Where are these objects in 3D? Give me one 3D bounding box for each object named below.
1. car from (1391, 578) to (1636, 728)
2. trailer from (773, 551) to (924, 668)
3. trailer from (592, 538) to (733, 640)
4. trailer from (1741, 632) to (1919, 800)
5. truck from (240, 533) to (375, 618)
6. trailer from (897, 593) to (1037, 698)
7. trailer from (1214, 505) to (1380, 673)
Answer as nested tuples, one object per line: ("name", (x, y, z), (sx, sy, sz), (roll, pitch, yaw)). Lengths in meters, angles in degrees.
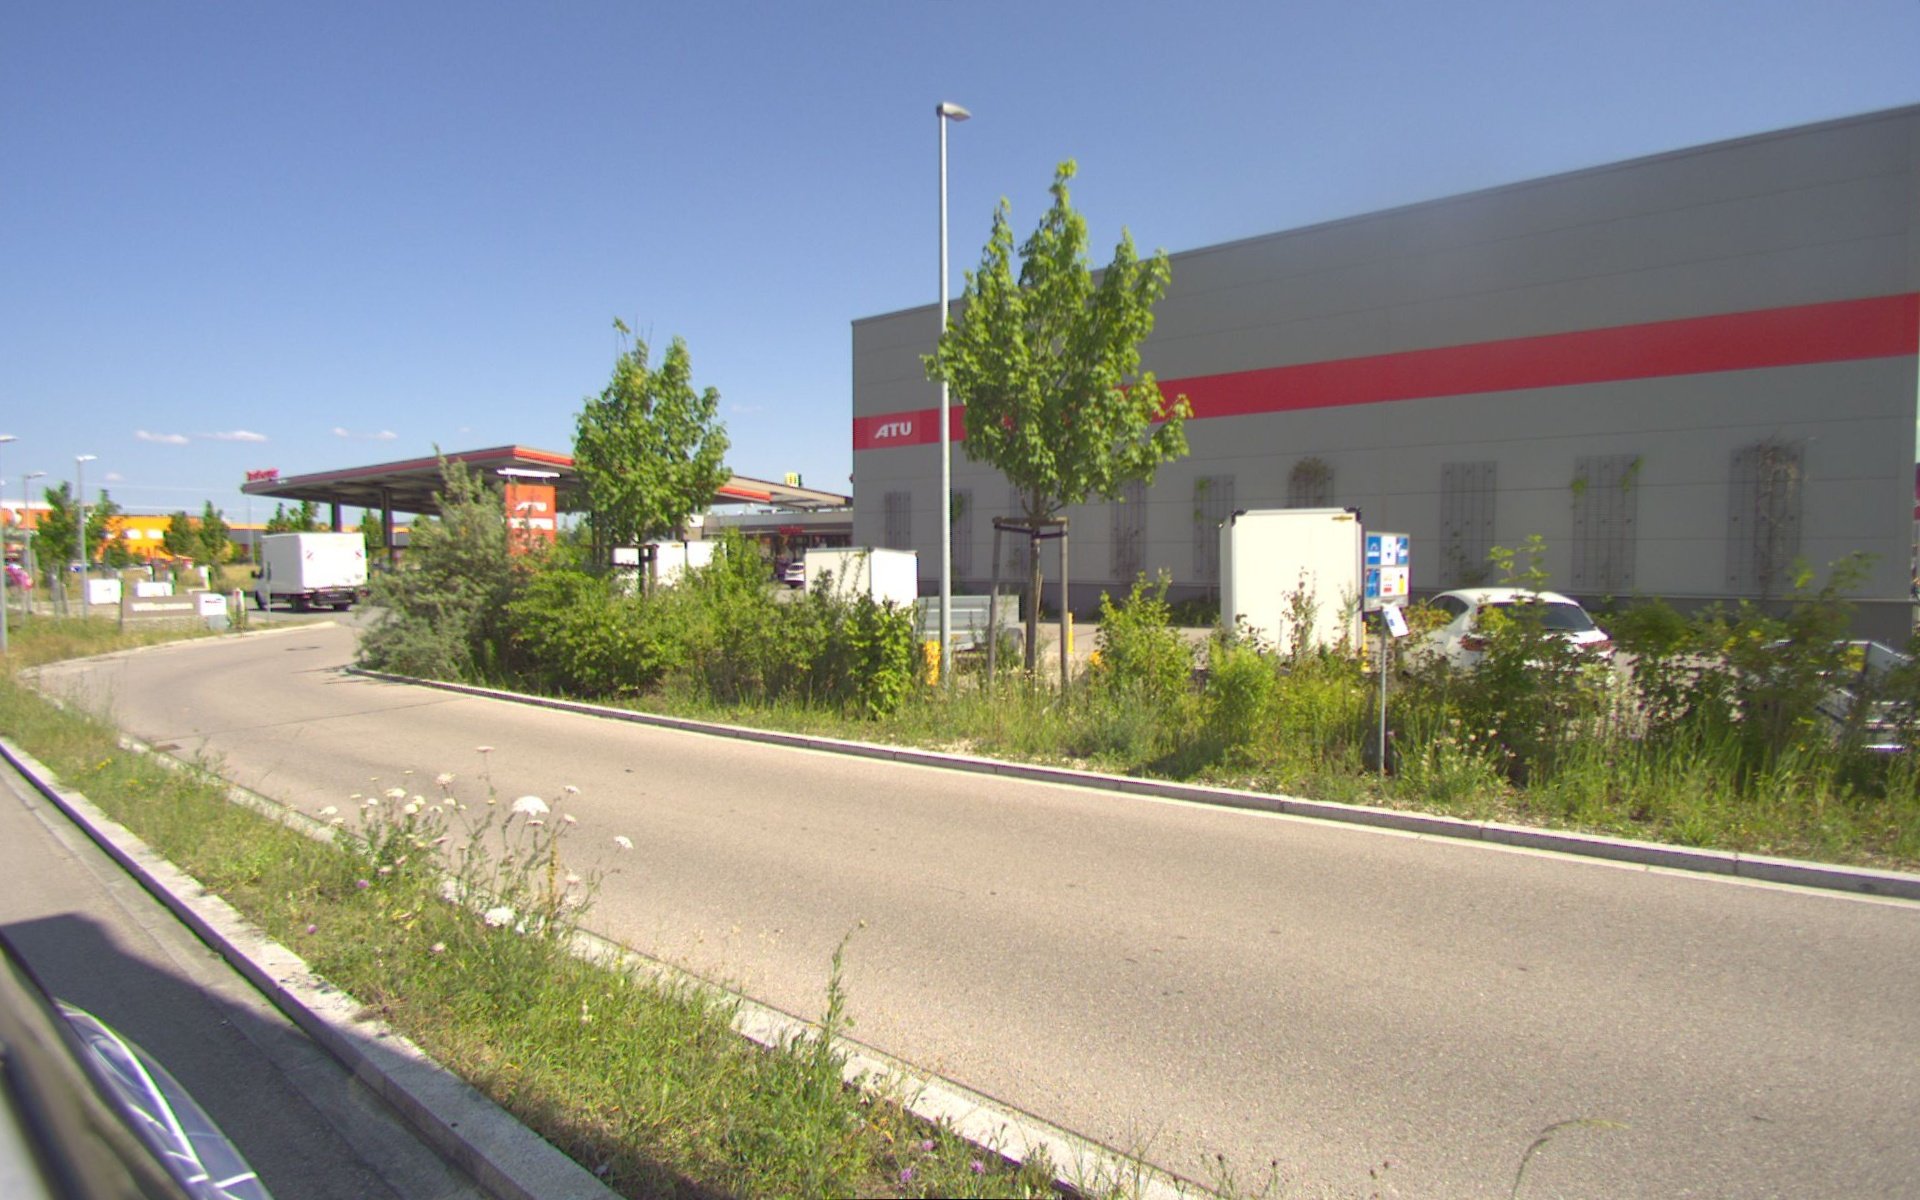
("car", (6.877, 0.544, 13.044), (1.702, 1.547, 3.984), (-1, 2, 13))
("trailer", (-2.028, 0.129, 19.148), (1.981, 2.028, 2.724), (-1, 2, 15))
("trailer", (-6.409, -0.272, 22.153), (1.974, 2.028, 3.204), (-1, 2, 3))
("trailer", (8.073, 0.913, 8.488), (1.307, 1.094, 2.766), (-1, 2, 12))
("truck", (-27.545, -1.008, 42.604), (6.897, 3.343, 2.608), (0, 2, 38))
("trailer", (0.223, 0.718, 17.636), (1.585, 1.521, 3.584), (-1, 2, 15))
("trailer", (4.547, -0.177, 14.066), (1.729, 2.028, 3.229), (-1, 2, 11))
